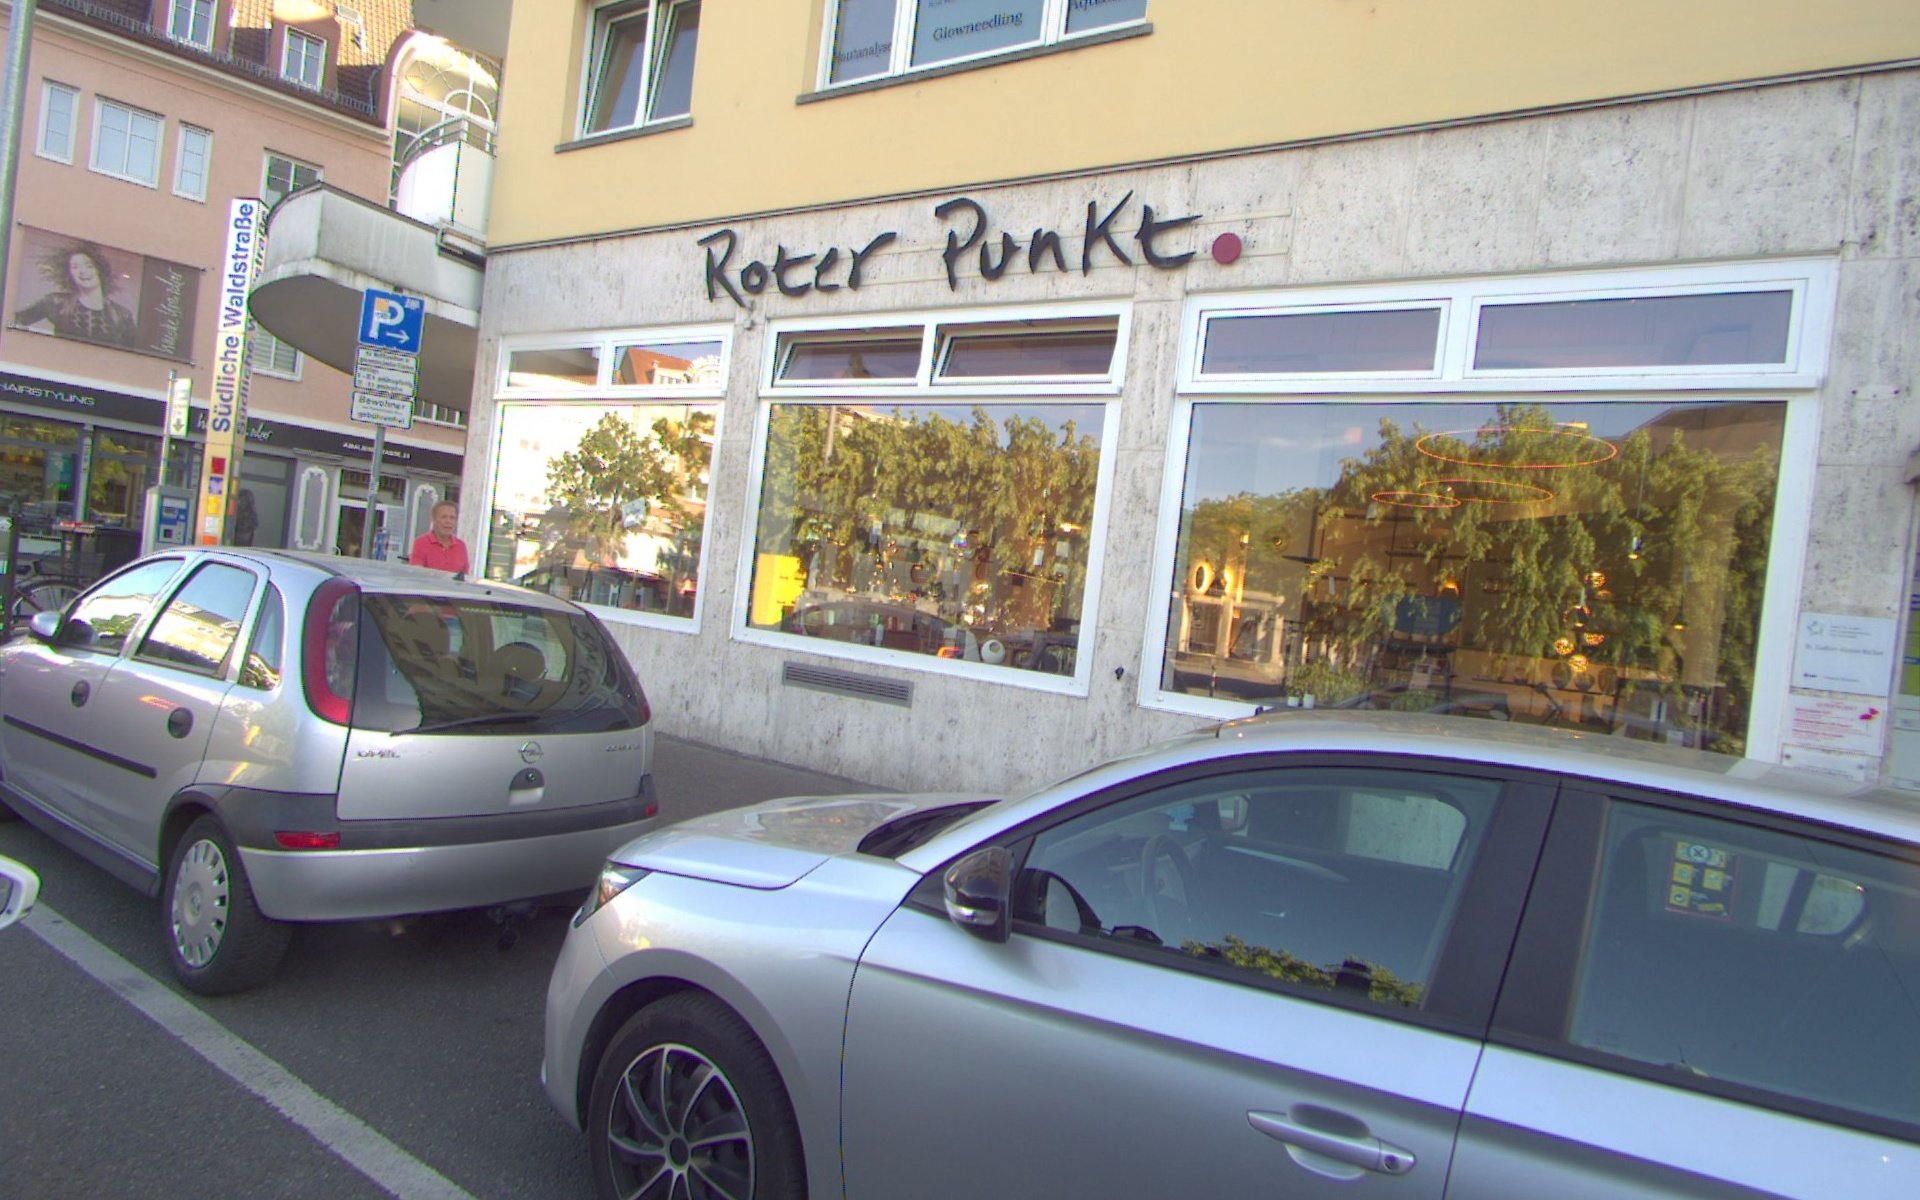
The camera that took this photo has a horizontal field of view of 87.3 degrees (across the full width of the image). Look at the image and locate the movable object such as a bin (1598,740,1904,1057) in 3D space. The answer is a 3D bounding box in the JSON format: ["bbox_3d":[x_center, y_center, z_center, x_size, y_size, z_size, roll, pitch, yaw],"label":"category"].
[{"bbox_3d":[3.420,1.235,4.458,0.879,1.066,0.751,7,0,32],"label":"movable object such as a bin"}]

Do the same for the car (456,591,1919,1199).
[{"bbox_3d":[0.787,0.930,2.307,3.643,1.415,1.653,7,-1,30],"label":"car"}]

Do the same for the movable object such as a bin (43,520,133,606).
[{"bbox_3d":[-12.428,-0.524,14.347,0.617,1.105,0.734,6,-1,34],"label":"movable object such as a bin"}]

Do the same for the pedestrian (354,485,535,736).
[{"bbox_3d":[-4.053,0.061,7.902,0.994,1.808,0.862,7,3,40],"label":"pedestrian"}]

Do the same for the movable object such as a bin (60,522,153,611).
[{"bbox_3d":[-11.893,-0.465,14.027,0.617,1.105,0.754,6,-1,34],"label":"movable object such as a bin"}]

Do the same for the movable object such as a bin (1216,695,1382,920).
[{"bbox_3d":[1.873,1.079,5.504,0.592,1.041,0.811,7,0,32],"label":"movable object such as a bin"}]

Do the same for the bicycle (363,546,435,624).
[{"bbox_3d":[-10.041,-0.297,17.965,0.656,1.213,2.187,7,-1,-39],"label":"bicycle"}]

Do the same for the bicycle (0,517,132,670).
[{"bbox_3d":[-8.097,-0.081,8.226,0.681,1.208,1.885,8,1,37],"label":"bicycle"}]

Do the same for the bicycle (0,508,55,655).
[{"bbox_3d":[-9.101,-0.232,8.700,0.778,1.284,1.721,7,1,37],"label":"bicycle"}]

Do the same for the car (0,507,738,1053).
[{"bbox_3d":[-2.933,0.483,4.459,3.583,1.397,1.616,7,-2,32],"label":"car"}]
